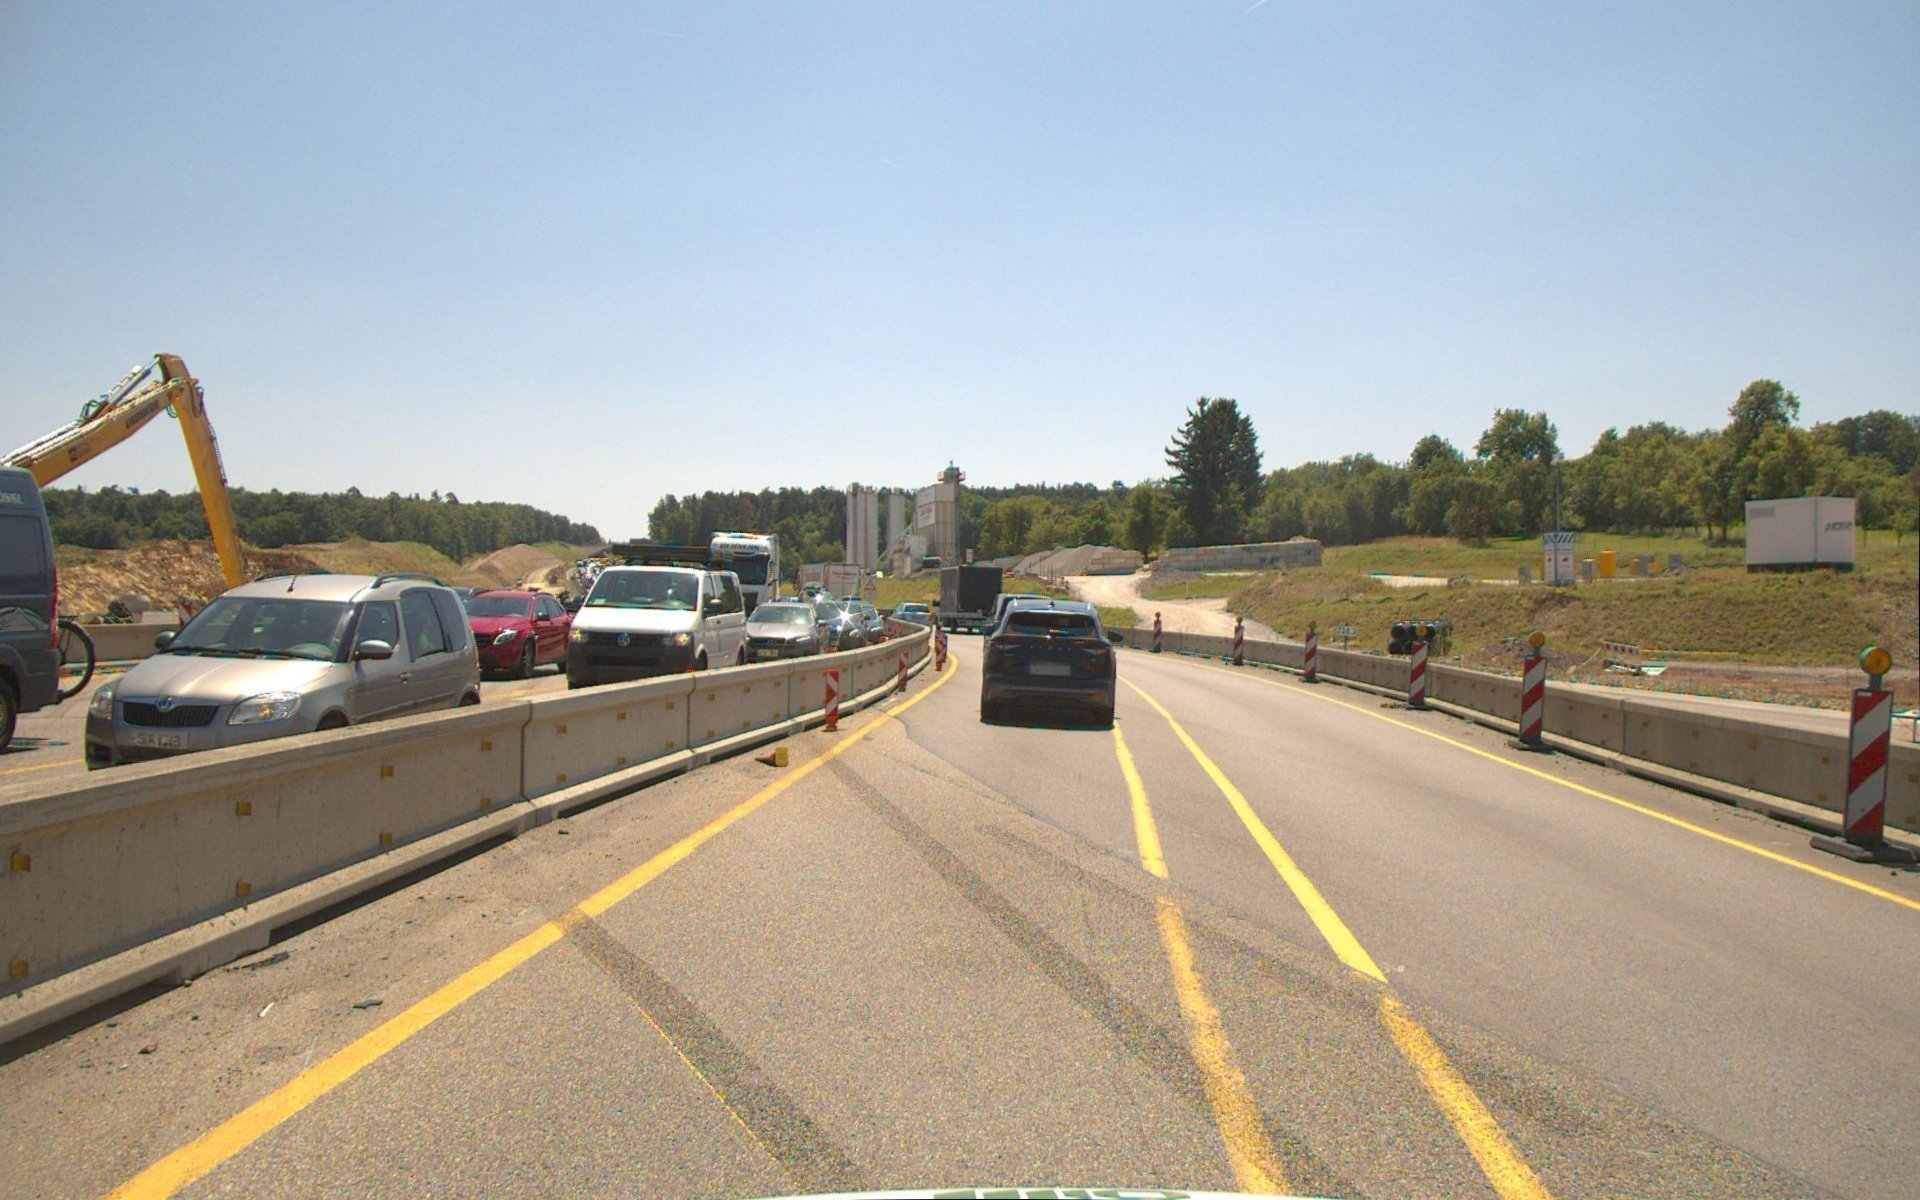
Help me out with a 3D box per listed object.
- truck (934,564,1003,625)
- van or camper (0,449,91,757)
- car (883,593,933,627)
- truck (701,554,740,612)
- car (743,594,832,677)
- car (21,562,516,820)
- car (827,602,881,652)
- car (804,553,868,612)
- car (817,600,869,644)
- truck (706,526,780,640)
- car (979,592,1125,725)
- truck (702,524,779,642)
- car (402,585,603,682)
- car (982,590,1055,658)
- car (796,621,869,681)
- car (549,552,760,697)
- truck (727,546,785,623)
[{"bbox_3d":[0.381,-0.289,84.368,2.623,2.997,5.609,-1,0,-9],"label":"truck"},{"bbox_3d":[-9.195,0.052,12.063,2.054,2.585,6.308,-1,0,3],"label":"van or camper"},{"bbox_3d":[-2.604,0.449,81.433,2.006,1.553,5.058,-1,1,-7],"label":"car"},{"bbox_3d":[-18.080,-1.276,124.391,2.721,4.210,10.848,1,0,-9],"label":"truck"},{"bbox_3d":[-3.758,0.736,36.568,1.478,1.632,3.953,3,0,0],"label":"car"},{"bbox_3d":[-5.141,0.579,13.017,1.720,1.644,4.231,2,1,6],"label":"car"},{"bbox_3d":[-3.385,0.838,53.010,1.623,1.478,4.245,1,0,-3],"label":"car"},{"bbox_3d":[-9.756,-1.389,129.139,3.378,4.172,9.165,4,0,-14],"label":"car"},{"bbox_3d":[-4.271,0.774,59.907,1.646,1.469,4.546,1,0,-7],"label":"car"},{"bbox_3d":[-8.956,-0.717,69.341,2.720,4.352,11.765,1,0,-6],"label":"truck"},{"bbox_3d":[1.231,0.735,23.159,1.804,1.609,4.001,3,0,2],"label":"car"},{"bbox_3d":[-8.403,-0.649,63.891,2.717,4.334,6.191,1,0,-6],"label":"truck"},{"bbox_3d":[-8.155,0.552,29.993,1.952,1.527,4.657,3,0,5],"label":"car"},{"bbox_3d":[1.676,0.670,48.851,1.953,1.876,4.000,1,1,-1],"label":"car"},{"bbox_3d":[-3.404,1.347,44.766,1.691,1.432,4.128,1,0,-1],"label":"car"},{"bbox_3d":[-4.443,0.324,24.915,1.833,1.905,5.061,2,0,4],"label":"car"},{"bbox_3d":[-11.326,-0.856,91.428,2.652,4.039,6.182,1,0,-11],"label":"truck"}]
